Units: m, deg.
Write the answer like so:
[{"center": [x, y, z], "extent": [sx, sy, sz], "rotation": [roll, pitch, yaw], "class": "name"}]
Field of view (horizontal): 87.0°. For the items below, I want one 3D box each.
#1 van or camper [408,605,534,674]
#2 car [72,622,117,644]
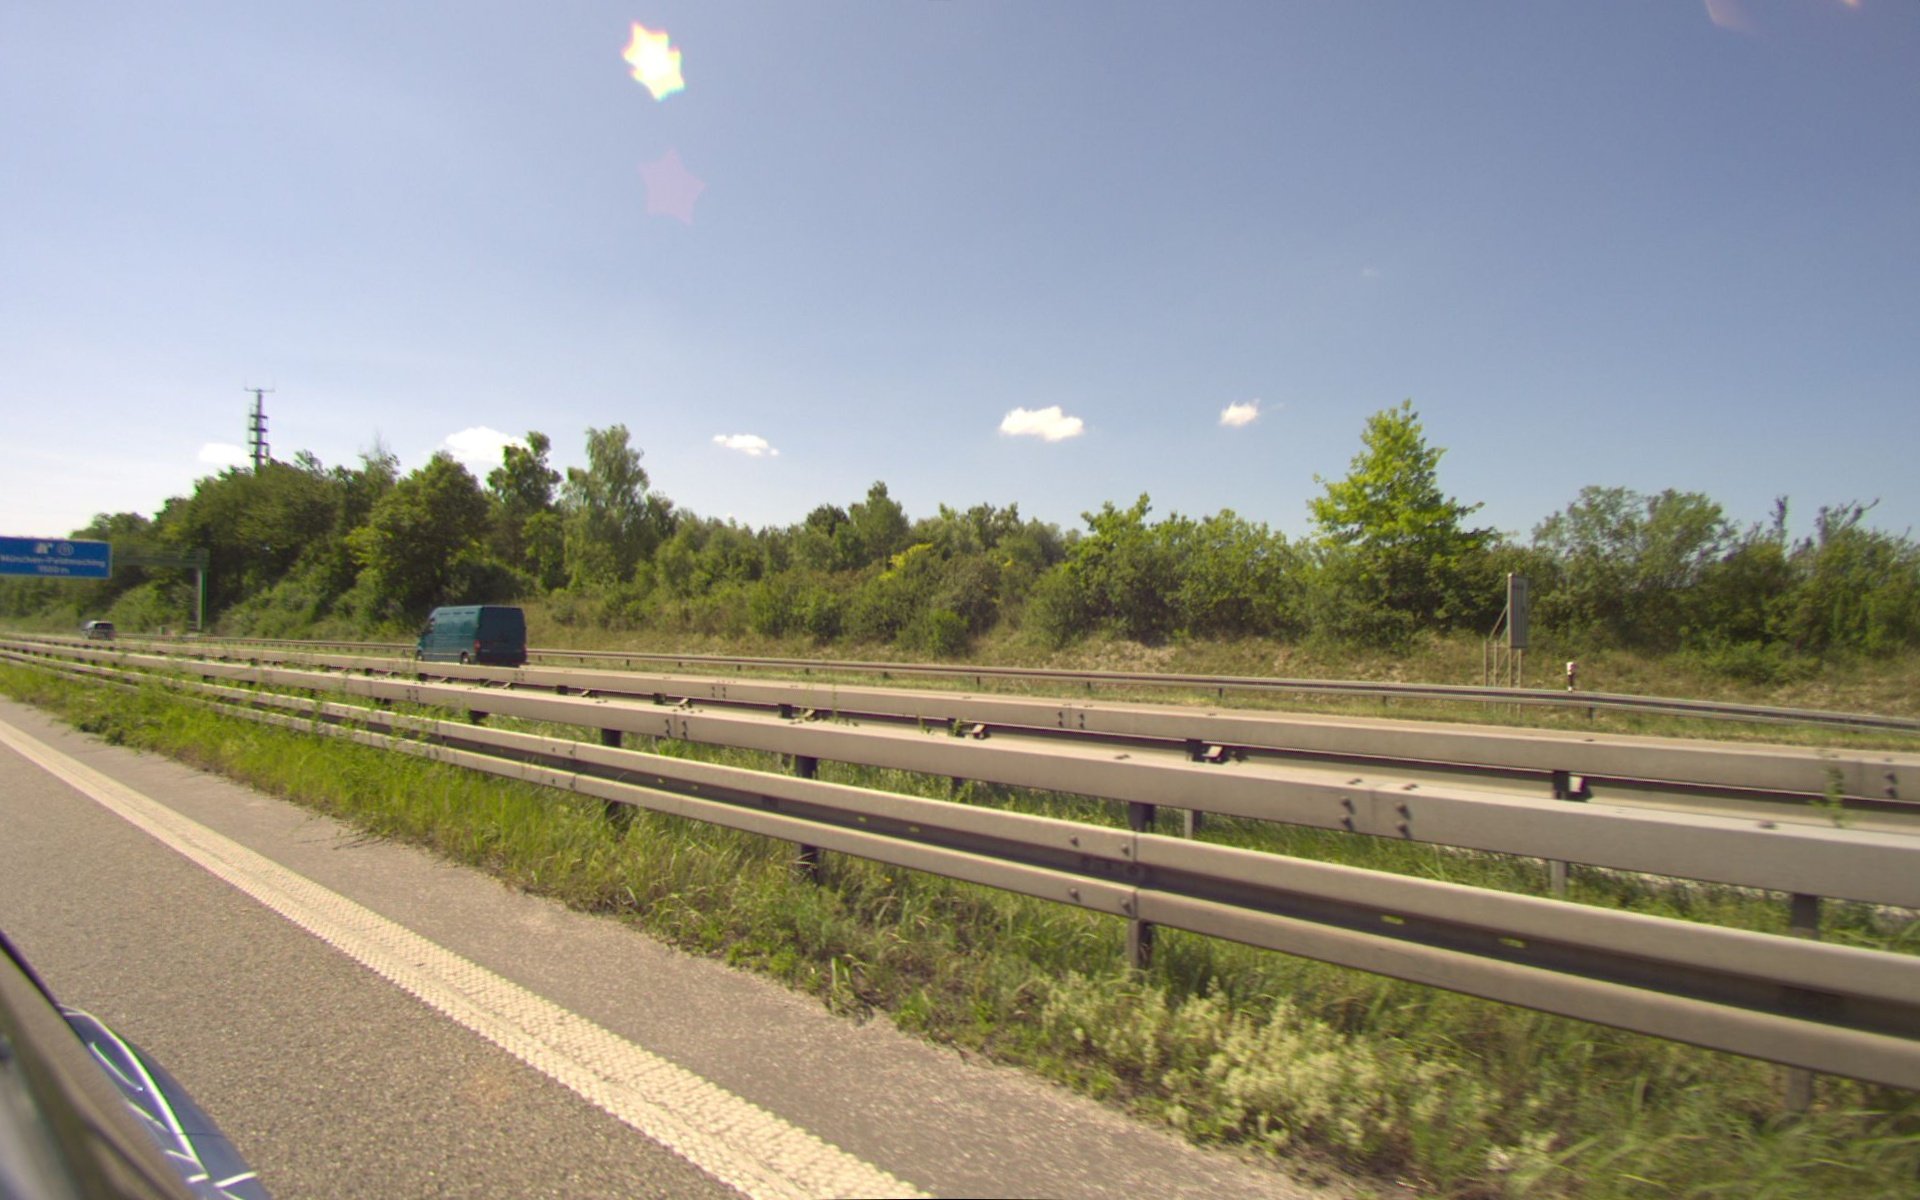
[{"center": [-18.610, 1.477, 38.342], "extent": [6.238, 2.410, 1.973], "rotation": [-1, -3, 41], "class": "van or camper"}, {"center": [-74.238, 2.811, 86.733], "extent": [5.328, 1.849, 1.973], "rotation": [-1, -4, 40], "class": "car"}]
